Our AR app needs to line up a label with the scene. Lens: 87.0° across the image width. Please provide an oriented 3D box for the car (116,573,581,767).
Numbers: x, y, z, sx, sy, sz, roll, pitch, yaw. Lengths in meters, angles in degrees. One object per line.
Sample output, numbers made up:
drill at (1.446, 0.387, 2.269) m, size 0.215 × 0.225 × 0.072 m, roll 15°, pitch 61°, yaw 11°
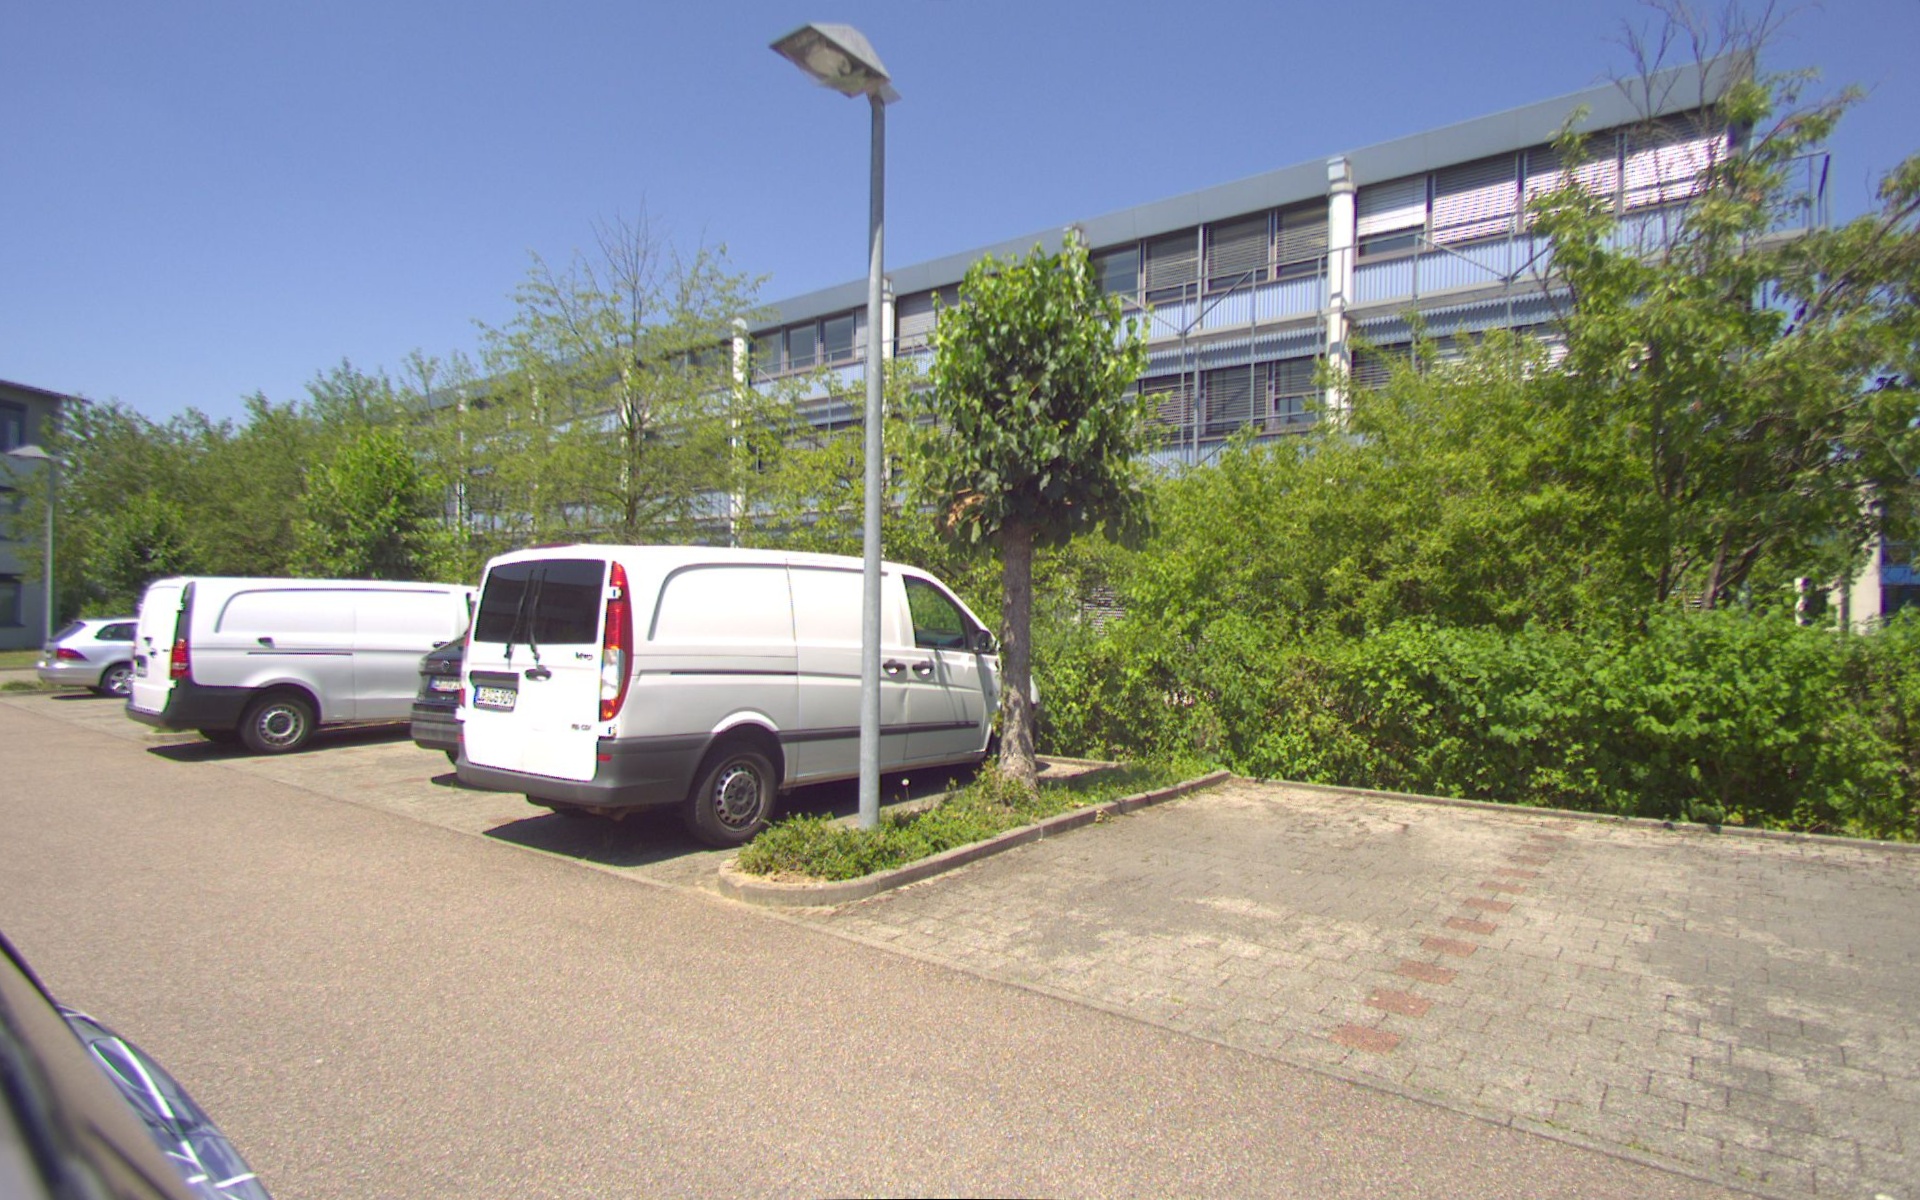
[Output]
car at (-7.090, 0.710, 12.212) m, size 1.826 × 1.896 × 4.464 m, roll -1°, pitch -1°, yaw 37°

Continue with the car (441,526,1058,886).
car at (-1.230, 0.596, 7.857) m, size 1.826 × 1.920 × 4.677 m, roll -1°, pitch -1°, yaw 37°

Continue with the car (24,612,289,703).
car at (-15.343, 1.028, 19.491) m, size 1.658 × 1.569 × 3.719 m, roll -1°, pitch -1°, yaw 37°

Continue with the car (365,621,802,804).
car at (-3.474, 0.924, 9.950) m, size 1.574 × 1.404 × 3.804 m, roll -1°, pitch -1°, yaw 37°
